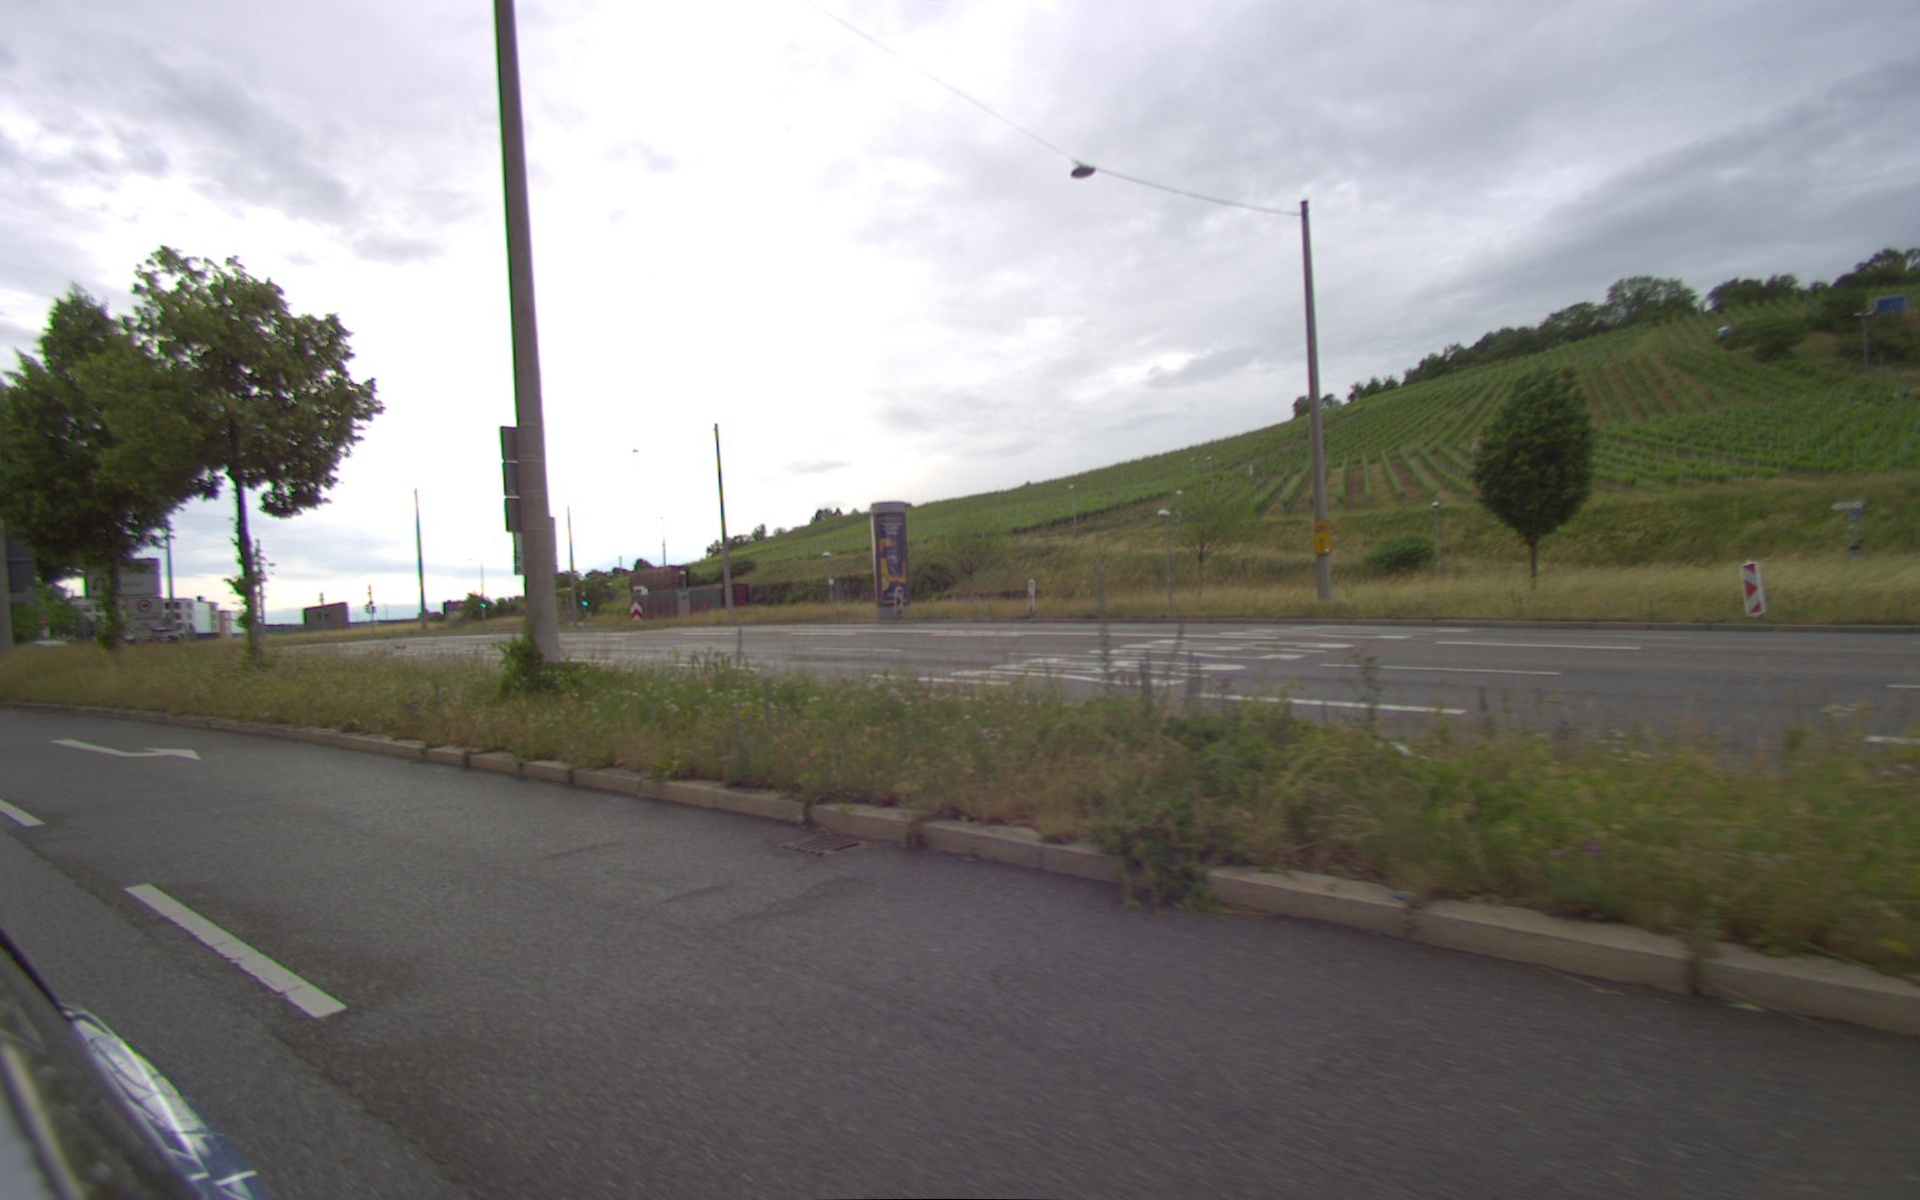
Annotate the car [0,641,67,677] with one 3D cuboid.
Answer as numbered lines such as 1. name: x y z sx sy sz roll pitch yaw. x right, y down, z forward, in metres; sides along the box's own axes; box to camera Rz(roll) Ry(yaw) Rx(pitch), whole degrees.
1. car: -48.085 3.064 52.461 4.351 1.666 1.860 -3 0 38

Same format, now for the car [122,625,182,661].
1. car: -44.414 2.376 55.594 3.996 1.763 1.750 -3 0 39
